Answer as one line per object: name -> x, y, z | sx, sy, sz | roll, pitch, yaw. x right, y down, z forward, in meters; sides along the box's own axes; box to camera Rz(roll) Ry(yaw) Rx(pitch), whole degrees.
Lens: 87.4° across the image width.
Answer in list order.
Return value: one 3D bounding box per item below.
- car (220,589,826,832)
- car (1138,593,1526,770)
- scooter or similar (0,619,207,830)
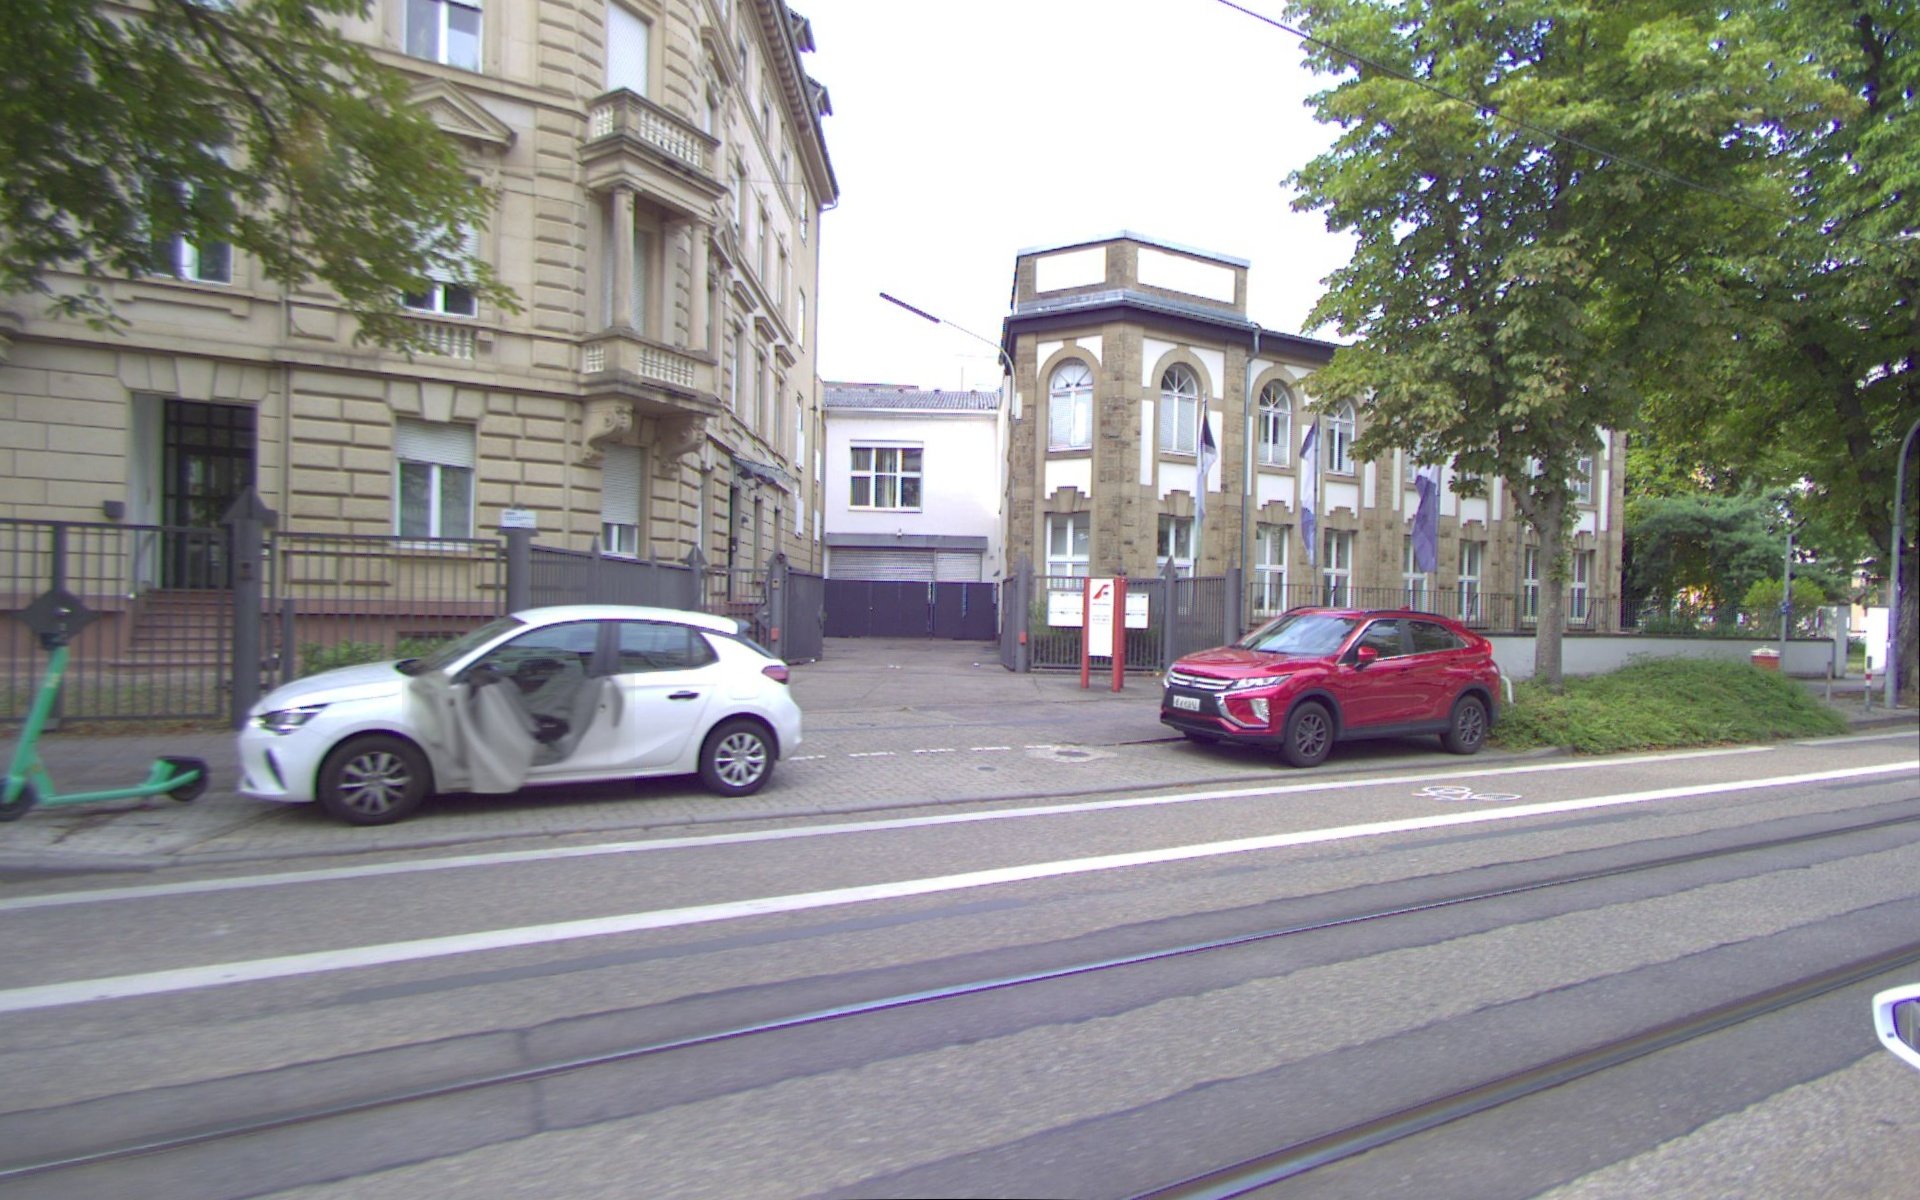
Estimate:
car -> -3.252, 0.725, 7.954 | 3.975, 1.443, 1.713 | 1, 2, -30
car -> 4.407, 0.852, 11.736 | 4.488, 1.677, 1.713 | 1, 2, -30
scooter or similar -> -5.707, 0.749, 6.423 | 0.554, 1.239, 1.318 | 2, 0, 38
